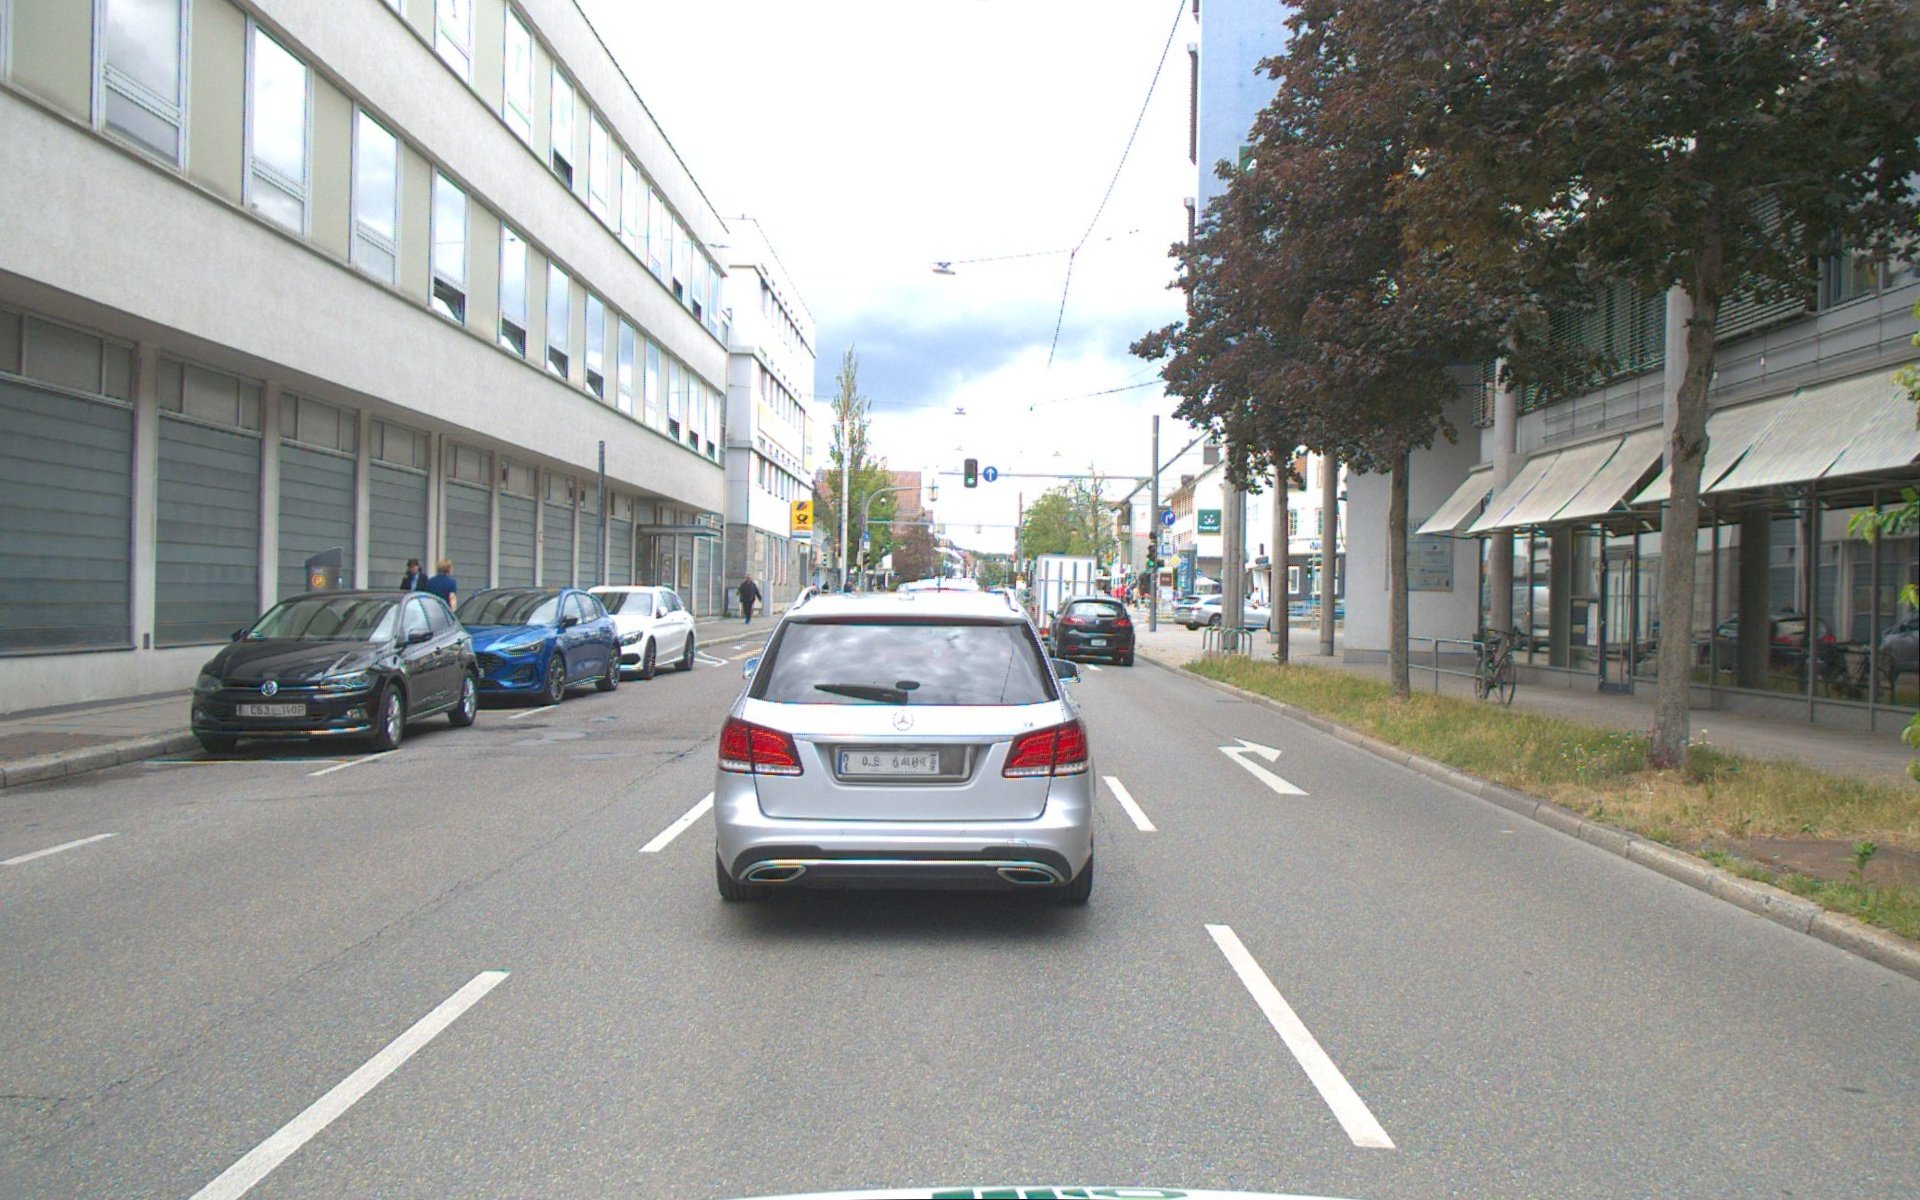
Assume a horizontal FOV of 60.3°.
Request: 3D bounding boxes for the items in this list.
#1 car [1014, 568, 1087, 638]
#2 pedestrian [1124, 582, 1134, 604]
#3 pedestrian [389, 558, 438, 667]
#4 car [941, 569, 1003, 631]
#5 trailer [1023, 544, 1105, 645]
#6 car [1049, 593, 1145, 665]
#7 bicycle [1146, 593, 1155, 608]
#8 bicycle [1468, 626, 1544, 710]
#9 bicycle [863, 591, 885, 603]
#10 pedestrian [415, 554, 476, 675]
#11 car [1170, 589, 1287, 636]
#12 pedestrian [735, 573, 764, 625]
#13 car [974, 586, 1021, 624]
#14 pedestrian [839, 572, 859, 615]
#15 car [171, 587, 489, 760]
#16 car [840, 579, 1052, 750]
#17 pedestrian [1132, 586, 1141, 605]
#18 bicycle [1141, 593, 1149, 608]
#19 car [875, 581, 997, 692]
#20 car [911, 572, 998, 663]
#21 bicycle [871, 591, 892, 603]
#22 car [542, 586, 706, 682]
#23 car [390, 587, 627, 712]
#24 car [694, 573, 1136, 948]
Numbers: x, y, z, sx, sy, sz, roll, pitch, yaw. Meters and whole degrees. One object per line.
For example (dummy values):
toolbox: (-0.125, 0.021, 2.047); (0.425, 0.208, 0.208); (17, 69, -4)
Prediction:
car: (2.805, 0.074, 52.131); (1.840, 1.979, 4.905); (3, 0, -1)
pedestrian: (13.484, -0.541, 132.000); (0.567, 1.695, 0.650); (2, 0, -8)
pedestrian: (-8.916, 0.195, 26.981); (0.577, 1.748, 0.649); (1, 0, -2)
car: (0.323, -0.010, 50.895); (1.791, 1.816, 3.999); (1, 0, -1)
trailer: (2.934, -0.176, 47.509); (1.840, 2.658, 4.322); (3, 0, -1)
car: (2.963, 0.598, 36.587); (1.699, 1.435, 3.999); (1, 1, -1)
bicycle: (14.664, 0.013, 127.437); (0.438, 1.127, 2.150); (1, 0, 2)
bicycle: (7.840, 0.958, 23.832); (0.353, 1.105, 2.027); (2, 0, -1)
bicycle: (-7.751, -0.266, 149.741); (1.902, 1.047, 0.529); (2, 0, -9)
pedestrian: (-7.631, 0.203, 24.557); (0.577, 1.748, 1.055); (1, 0, -1)
car: (11.004, 0.504, 67.748); (4.488, 1.633, 1.726); (3, 0, -26)
pedestrian: (-7.265, -0.046, 57.084); (0.844, 1.748, 1.031); (2, 0, -1)
car: (1.469, 0.183, 66.392); (1.699, 1.435, 3.999); (1, 1, -1)
pedestrian: (-4.681, -0.274, 69.704); (0.634, 1.748, 0.783); (2, 0, 8)
car: (-5.943, 0.616, 16.097); (1.681, 1.450, 3.869); (-1, 0, -1)
car: (-0.020, 0.578, 17.213); (1.697, 1.534, 4.003); (1, 0, 7)
pedestrian: (13.714, -0.337, 128.752); (0.566, 1.495, 0.651); (2, 0, -2)
bicycle: (14.224, 0.014, 127.443); (0.438, 1.110, 2.150); (1, 0, 2)
car: (-0.380, 0.495, 25.259); (1.699, 1.534, 3.999); (1, 0, -1)
car: (-0.152, 0.334, 34.938); (1.699, 1.790, 3.999); (1, 0, -1)
bicycle: (-7.276, -0.263, 153.061); (1.902, 1.047, 0.529); (2, 0, -9)
car: (-5.526, 0.512, 27.781); (1.635, 1.459, 4.554); (-1, 0, 2)
car: (-5.784, 0.574, 21.750); (1.777, 1.450, 4.265); (-1, 0, 2)
car: (-0.228, 0.648, 8.911); (1.808, 1.534, 4.170); (1, 0, -1)
